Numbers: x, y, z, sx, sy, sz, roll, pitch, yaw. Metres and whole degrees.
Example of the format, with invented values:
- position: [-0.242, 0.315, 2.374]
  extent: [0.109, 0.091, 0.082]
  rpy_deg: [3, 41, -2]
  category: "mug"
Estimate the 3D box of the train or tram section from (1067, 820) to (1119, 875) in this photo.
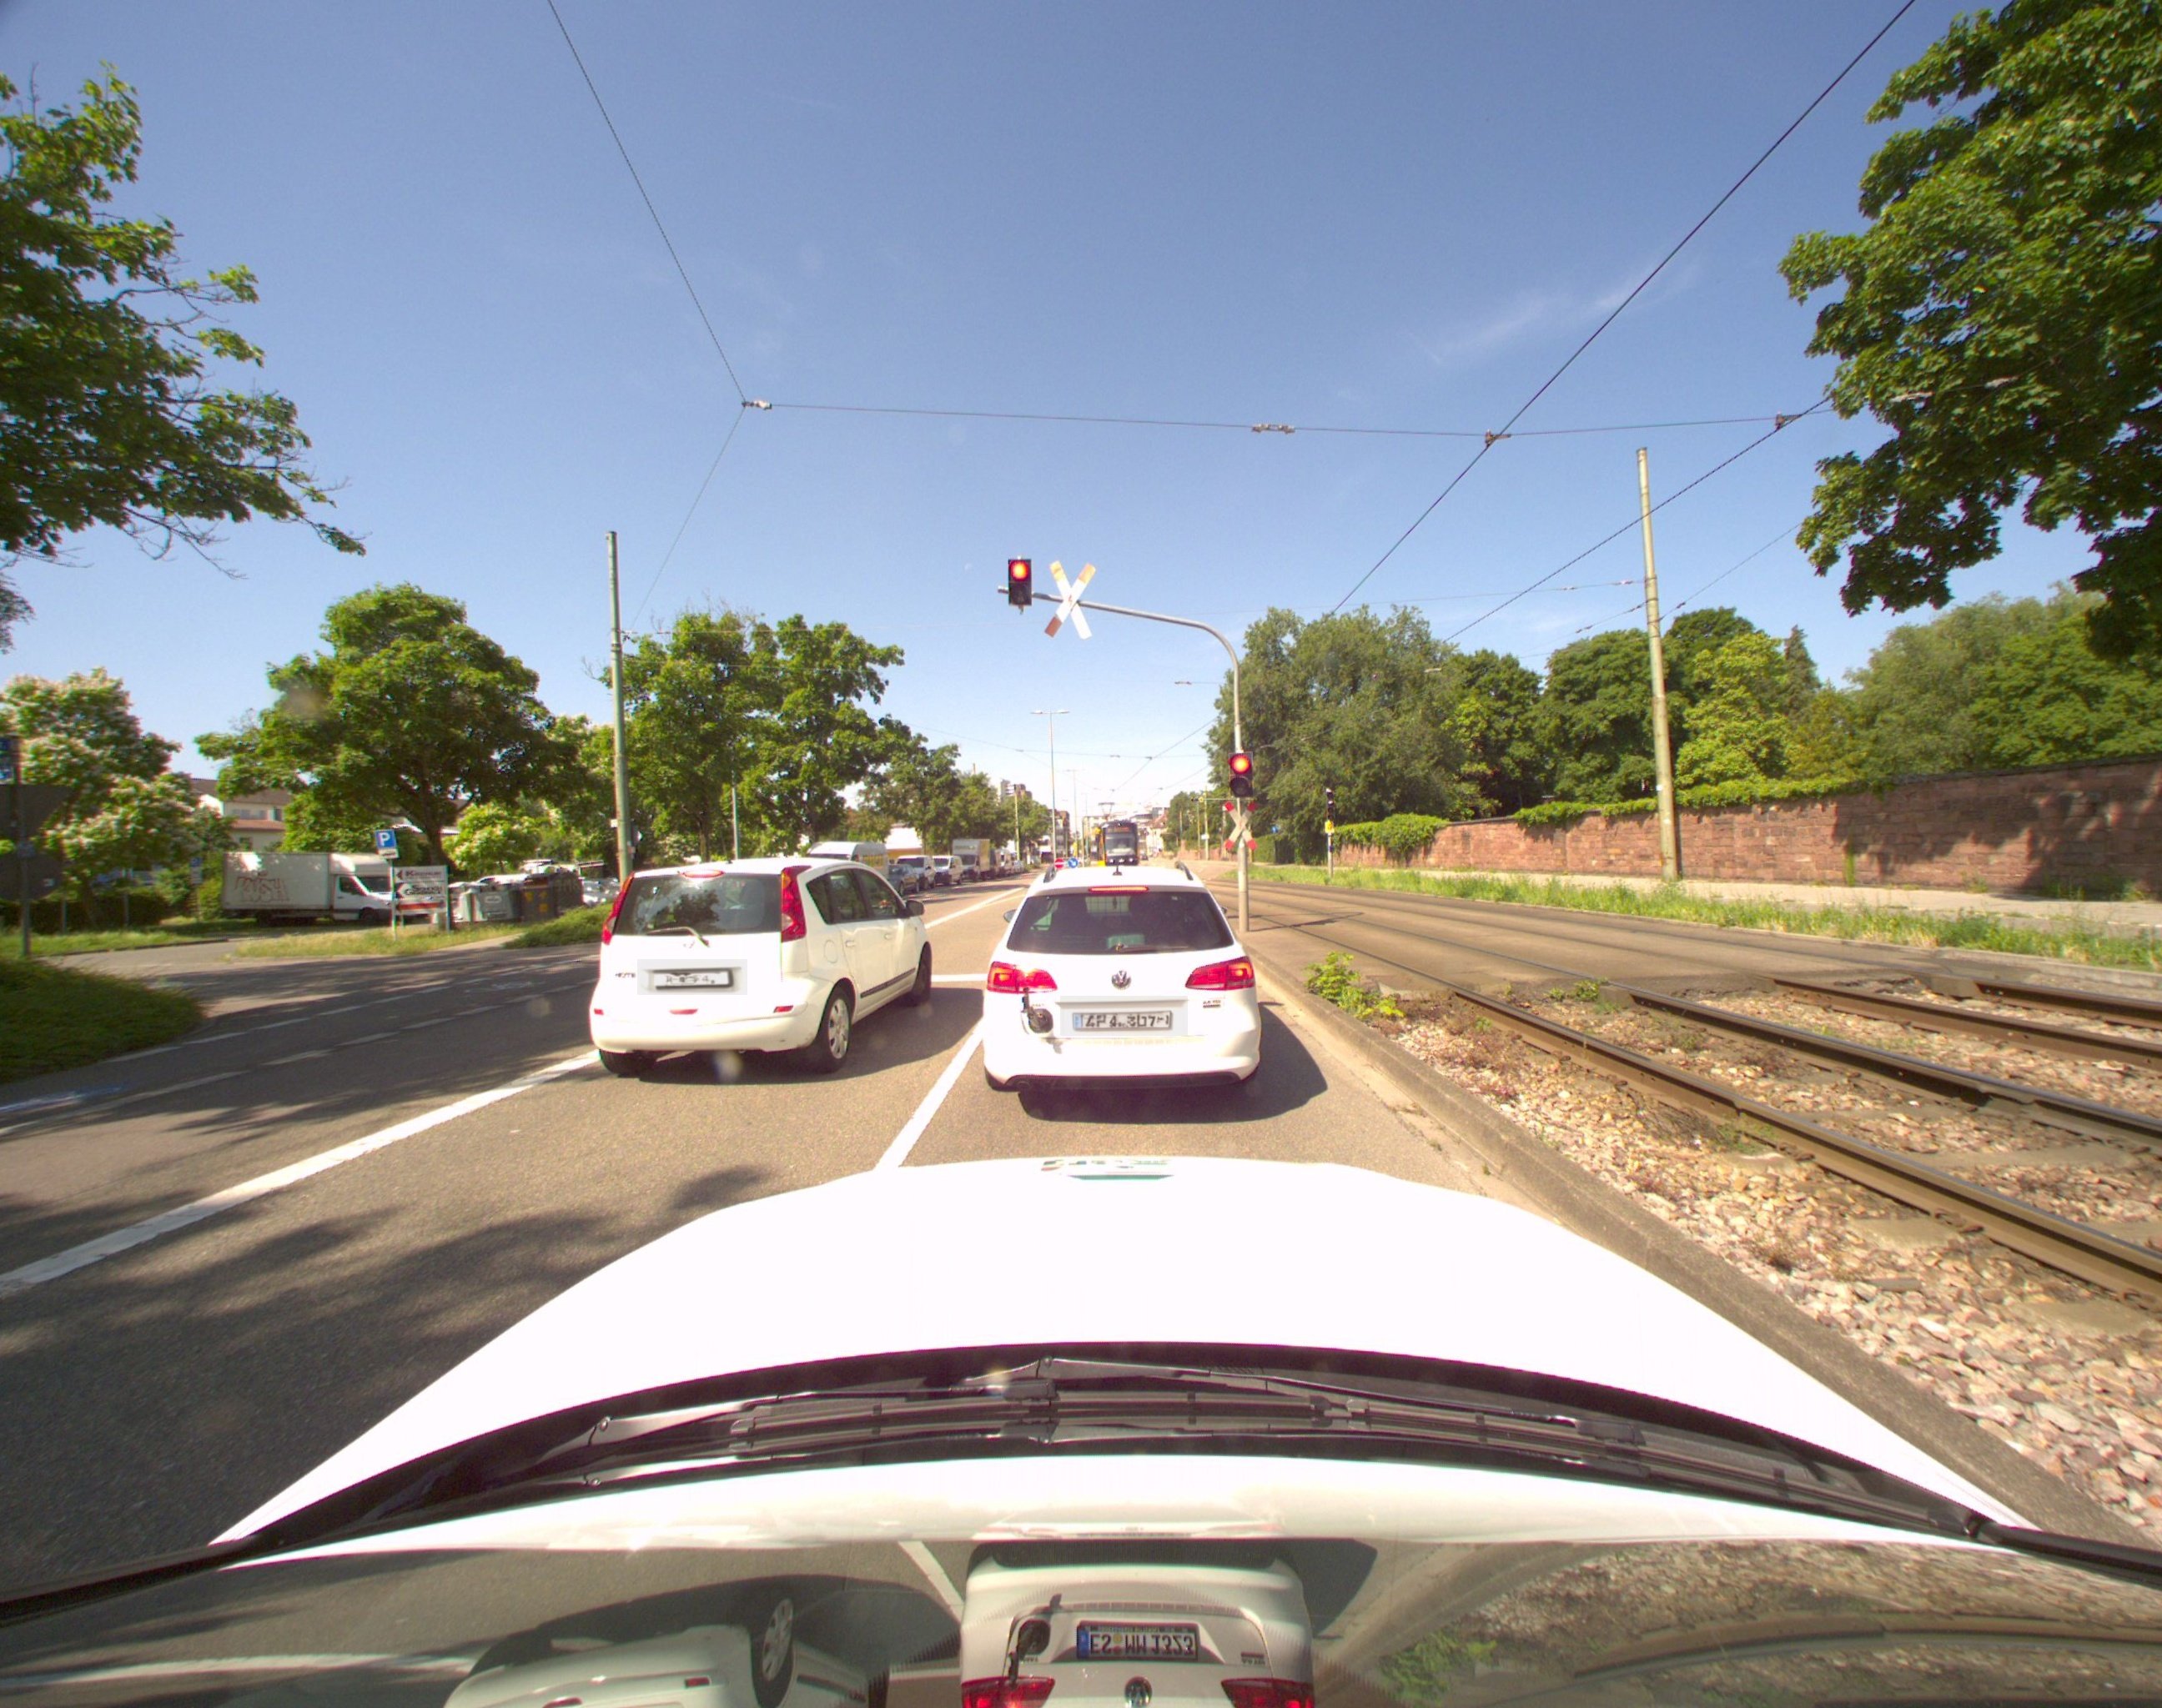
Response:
- position: [0.758, -0.458, 64.896]
  extent: [2.865, 3.855, 12.372]
  rpy_deg: [-3, 0, -4]
  category: "train or tram section"

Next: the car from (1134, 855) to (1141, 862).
- position: [15.406, 1.213, 222.326]
  extent: [1.857, 1.868, 5.063]
  rpy_deg: [0, 0, 1]
  category: "car"

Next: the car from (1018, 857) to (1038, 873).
- position: [-6.407, 1.355, 98.938]
  extent: [1.856, 1.868, 5.415]
  rpy_deg: [0, 0, 1]
  category: "car"

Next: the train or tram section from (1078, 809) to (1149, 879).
- position: [1.851, -0.560, 52.711]
  extent: [2.866, 3.855, 12.368]
  rpy_deg: [-3, 0, -5]
  category: "train or tram section"

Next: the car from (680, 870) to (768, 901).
- position: [-19.545, 1.722, 44.728]
  extent: [3.977, 1.415, 1.729]
  rpy_deg: [-4, -1, -3]
  category: "car"

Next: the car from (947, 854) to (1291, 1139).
- position: [0.263, 0.757, 6.317]
  extent: [1.756, 1.430, 4.002]
  rpy_deg: [-3, 0, 2]
  category: "car"

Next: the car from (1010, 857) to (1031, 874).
- position: [-6.788, 1.247, 92.026]
  extent: [1.856, 1.868, 5.415]
  rpy_deg: [0, 0, 1]
  category: "car"

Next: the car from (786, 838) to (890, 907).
- position: [-9.583, 0.686, 32.717]
  extent: [2.114, 2.516, 5.822]
  rpy_deg: [0, 0, 3]
  category: "car"

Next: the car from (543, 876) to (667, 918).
- position: [-19.670, 1.768, 33.770]
  extent: [3.977, 1.415, 1.729]
  rpy_deg: [-4, -1, -3]
  category: "car"

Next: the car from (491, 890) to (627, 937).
- position: [-19.904, 2.234, 31.165]
  extent: [3.977, 1.415, 1.729]
  rpy_deg: [-4, -1, -3]
  category: "car"

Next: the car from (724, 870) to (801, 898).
- position: [-19.470, 1.821, 49.878]
  extent: [3.977, 1.415, 1.729]
  rpy_deg: [-4, -1, -3]
  category: "car"

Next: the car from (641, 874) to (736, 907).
- position: [-20.294, 1.869, 42.212]
  extent: [3.977, 1.415, 1.729]
  rpy_deg: [-4, -1, -3]
  category: "car"

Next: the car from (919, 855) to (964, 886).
- position: [-8.878, 1.011, 52.268]
  extent: [1.856, 1.868, 5.415]
  rpy_deg: [0, 0, 1]
  category: "car"

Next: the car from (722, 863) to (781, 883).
- position: [-31.484, 1.818, 77.943]
  extent: [4.780, 1.787, 2.062]
  rpy_deg: [0, -1, -3]
  category: "car"

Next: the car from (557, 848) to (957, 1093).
- position: [-2.440, 0.752, 7.518]
  extent: [1.655, 1.547, 4.550]
  rpy_deg: [-1, 0, 3]
  category: "car"

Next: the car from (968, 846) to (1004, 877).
- position: [-7.985, 0.616, 68.683]
  extent: [2.114, 2.516, 5.737]
  rpy_deg: [0, 0, 2]
  category: "car"

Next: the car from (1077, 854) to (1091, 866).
- position: [0.408, 0.806, 113.006]
  extent: [1.698, 1.473, 4.593]
  rpy_deg: [-3, 0, 3]
  category: "car"

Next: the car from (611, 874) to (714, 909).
- position: [-20.301, 1.805, 39.601]
  extent: [3.977, 1.415, 1.729]
  rpy_deg: [-4, -1, -3]
  category: "car"

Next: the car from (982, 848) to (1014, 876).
- position: [-7.718, 0.676, 76.118]
  extent: [2.114, 2.516, 5.737]
  rpy_deg: [0, 0, 2]
  category: "car"

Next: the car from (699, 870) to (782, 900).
- position: [-19.616, 1.767, 47.062]
  extent: [3.977, 1.415, 1.729]
  rpy_deg: [-4, -1, -3]
  category: "car"

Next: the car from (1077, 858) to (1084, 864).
- position: [-0.123, 1.743, 207.980]
  extent: [1.698, 1.473, 4.593]
  rpy_deg: [-3, 0, 3]
  category: "car"

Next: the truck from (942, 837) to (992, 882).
- position: [-8.395, 0.412, 60.689]
  extent: [2.411, 3.150, 7.001]
  rpy_deg: [0, 0, 2]
  category: "truck"

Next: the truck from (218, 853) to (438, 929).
- position: [-32.395, 1.521, 35.218]
  extent: [6.979, 3.110, 2.677]
  rpy_deg: [0, 0, 0]
  category: "truck"

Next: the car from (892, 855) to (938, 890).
- position: [-9.234, 0.991, 45.684]
  extent: [1.859, 1.868, 5.068]
  rpy_deg: [0, 0, -4]
  category: "car"

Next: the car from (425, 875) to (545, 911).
- position: [-31.775, 2.048, 43.532]
  extent: [4.780, 1.787, 2.062]
  rpy_deg: [0, -1, -3]
  category: "car"

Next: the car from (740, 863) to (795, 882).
- position: [-31.787, 1.860, 82.774]
  extent: [4.780, 1.787, 2.062]
  rpy_deg: [0, -1, -3]
  category: "car"

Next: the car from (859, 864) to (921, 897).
- position: [-9.082, 1.222, 39.100]
  extent: [1.856, 1.415, 4.281]
  rpy_deg: [0, 0, 1]
  category: "car"

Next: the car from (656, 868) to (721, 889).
- position: [-35.137, 2.195, 72.972]
  extent: [4.780, 1.787, 2.062]
  rpy_deg: [0, -1, -3]
  category: "car"

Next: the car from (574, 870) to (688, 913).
- position: [-19.926, 1.630, 36.185]
  extent: [3.977, 1.610, 1.729]
  rpy_deg: [-4, -1, -3]
  category: "car"

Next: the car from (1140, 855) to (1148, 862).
- position: [15.981, 1.135, 206.508]
  extent: [1.857, 1.868, 5.063]
  rpy_deg: [0, 0, 1]
  category: "car"
